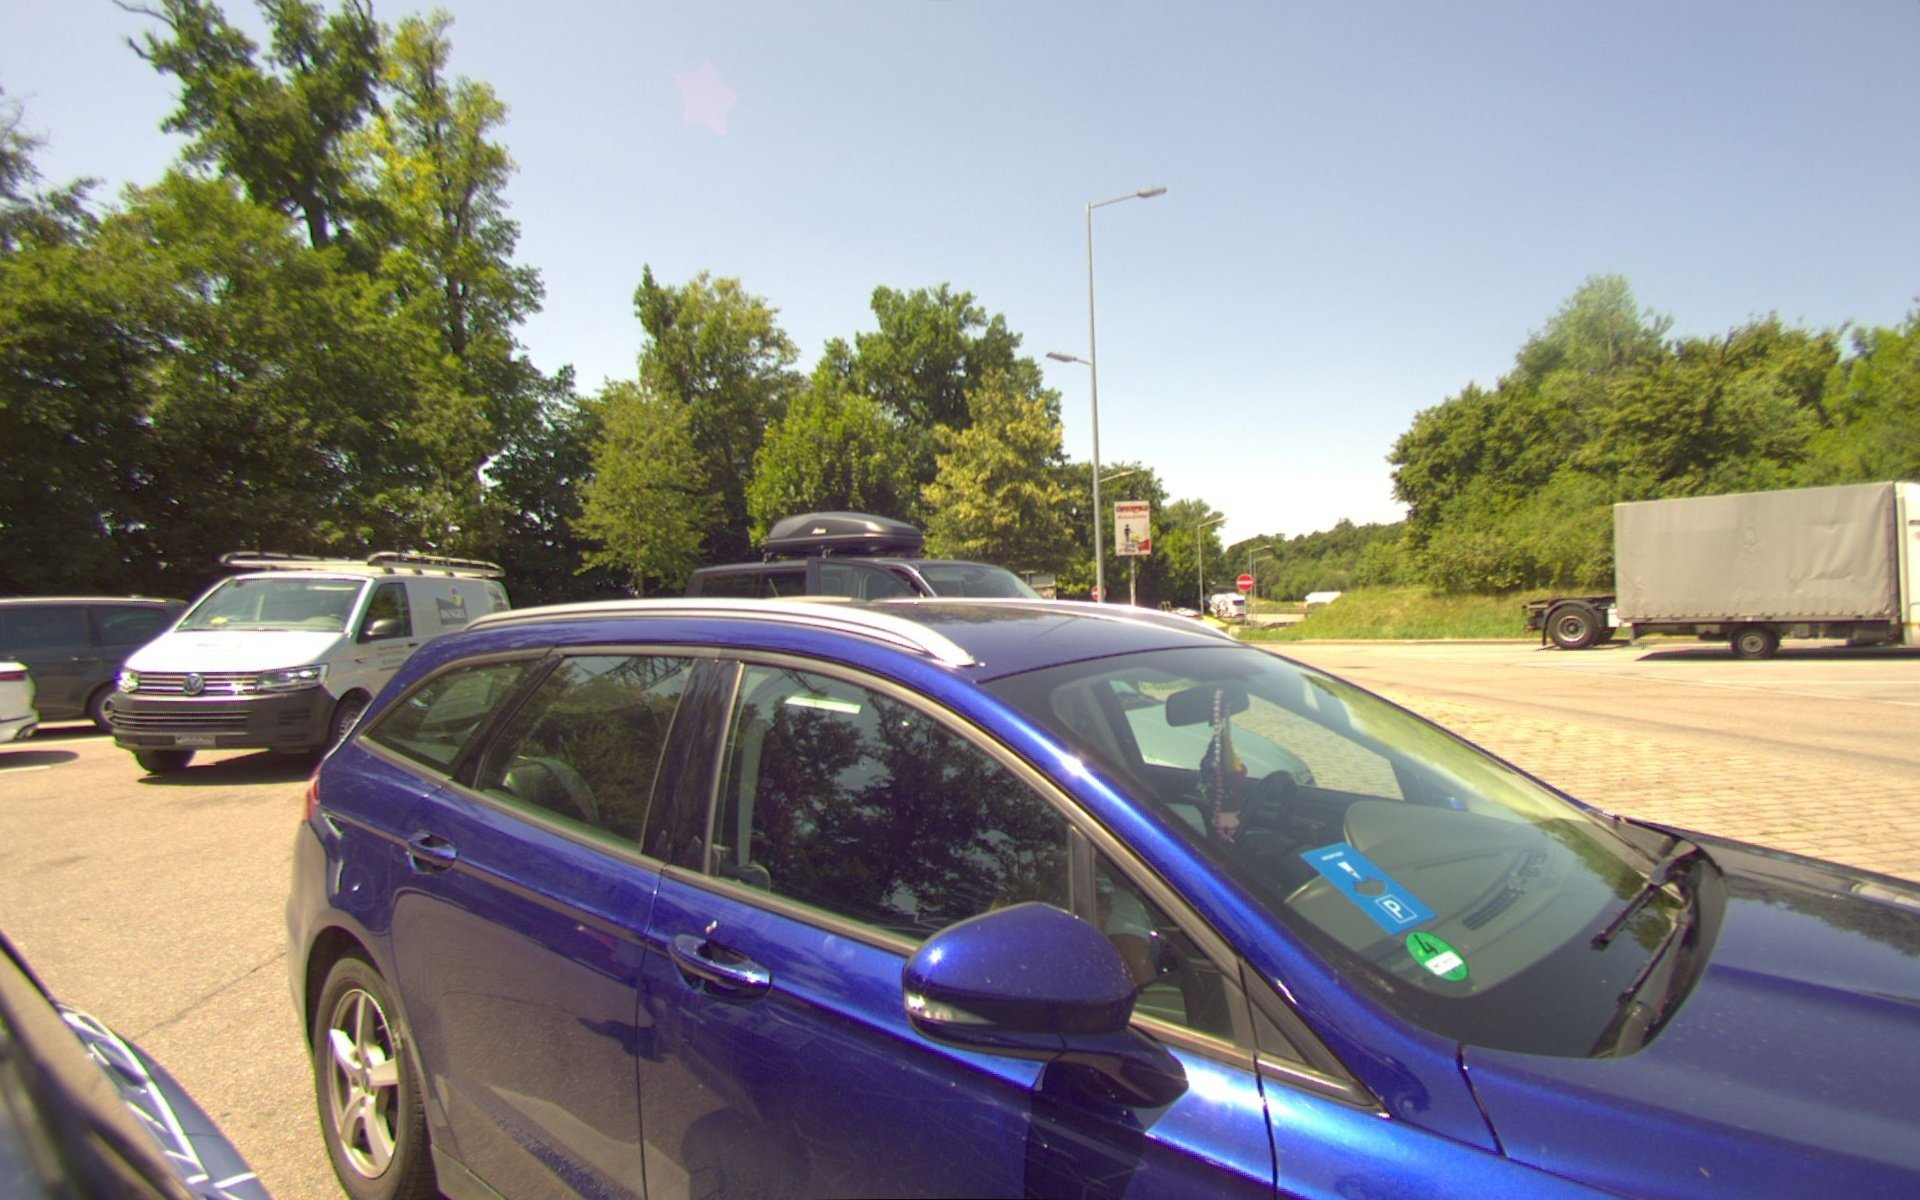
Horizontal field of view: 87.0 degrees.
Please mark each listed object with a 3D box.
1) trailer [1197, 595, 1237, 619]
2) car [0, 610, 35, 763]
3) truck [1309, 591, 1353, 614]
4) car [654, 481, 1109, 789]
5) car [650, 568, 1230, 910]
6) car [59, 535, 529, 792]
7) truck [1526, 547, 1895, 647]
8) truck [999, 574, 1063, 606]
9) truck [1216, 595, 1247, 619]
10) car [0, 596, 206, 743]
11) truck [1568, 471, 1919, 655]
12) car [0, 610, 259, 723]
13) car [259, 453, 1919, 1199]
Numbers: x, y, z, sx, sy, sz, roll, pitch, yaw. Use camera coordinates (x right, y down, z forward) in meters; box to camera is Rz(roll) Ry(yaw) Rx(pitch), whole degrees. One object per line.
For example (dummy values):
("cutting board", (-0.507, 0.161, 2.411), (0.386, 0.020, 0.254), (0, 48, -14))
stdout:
("trailer", (47.145, 1.215, 186.170), (3.113, 4.077, 14.991), (-1, 0, -2))
("car", (-11.029, 0.877, 9.246), (1.848, 1.465, 3.722), (-3, -1, 45))
("truck", (70.849, 0.423, 193.515), (2.805, 4.148, 12.005), (-1, 0, -6))
("car", (-0.849, 0.326, 9.577), (4.076, 2.336, 1.767), (-2, -1, 35))
("car", (-0.262, 0.596, 5.595), (3.112, 1.370, 1.326), (-2, -1, 41))
("car", (-6.697, 0.574, 11.159), (1.817, 2.121, 5.437), (0, -1, -3))
("truck", (17.091, 0.037, 23.480), (6.613, 2.029, 1.973), (-2, -1, 41))
("truck", (3.430, -0.462, 48.745), (2.866, 1.386, 1.158), (-2, -1, 22))
("truck", (47.430, 1.192, 176.881), (3.059, 4.148, 7.519), (-1, 0, -2))
("car", (-11.768, 0.833, 12.444), (1.755, 1.701, 3.798), (-2, -1, 45))
("truck", (16.038, -0.602, 19.338), (7.253, 3.175, 2.148), (-2, -1, 41))
("car", (-12.987, 0.948, 15.469), (3.535, 1.513, 1.708), (-1, 0, -42))
("car", (0.245, 0.651, 2.049), (4.411, 1.429, 1.721), (-2, -1, 41))
